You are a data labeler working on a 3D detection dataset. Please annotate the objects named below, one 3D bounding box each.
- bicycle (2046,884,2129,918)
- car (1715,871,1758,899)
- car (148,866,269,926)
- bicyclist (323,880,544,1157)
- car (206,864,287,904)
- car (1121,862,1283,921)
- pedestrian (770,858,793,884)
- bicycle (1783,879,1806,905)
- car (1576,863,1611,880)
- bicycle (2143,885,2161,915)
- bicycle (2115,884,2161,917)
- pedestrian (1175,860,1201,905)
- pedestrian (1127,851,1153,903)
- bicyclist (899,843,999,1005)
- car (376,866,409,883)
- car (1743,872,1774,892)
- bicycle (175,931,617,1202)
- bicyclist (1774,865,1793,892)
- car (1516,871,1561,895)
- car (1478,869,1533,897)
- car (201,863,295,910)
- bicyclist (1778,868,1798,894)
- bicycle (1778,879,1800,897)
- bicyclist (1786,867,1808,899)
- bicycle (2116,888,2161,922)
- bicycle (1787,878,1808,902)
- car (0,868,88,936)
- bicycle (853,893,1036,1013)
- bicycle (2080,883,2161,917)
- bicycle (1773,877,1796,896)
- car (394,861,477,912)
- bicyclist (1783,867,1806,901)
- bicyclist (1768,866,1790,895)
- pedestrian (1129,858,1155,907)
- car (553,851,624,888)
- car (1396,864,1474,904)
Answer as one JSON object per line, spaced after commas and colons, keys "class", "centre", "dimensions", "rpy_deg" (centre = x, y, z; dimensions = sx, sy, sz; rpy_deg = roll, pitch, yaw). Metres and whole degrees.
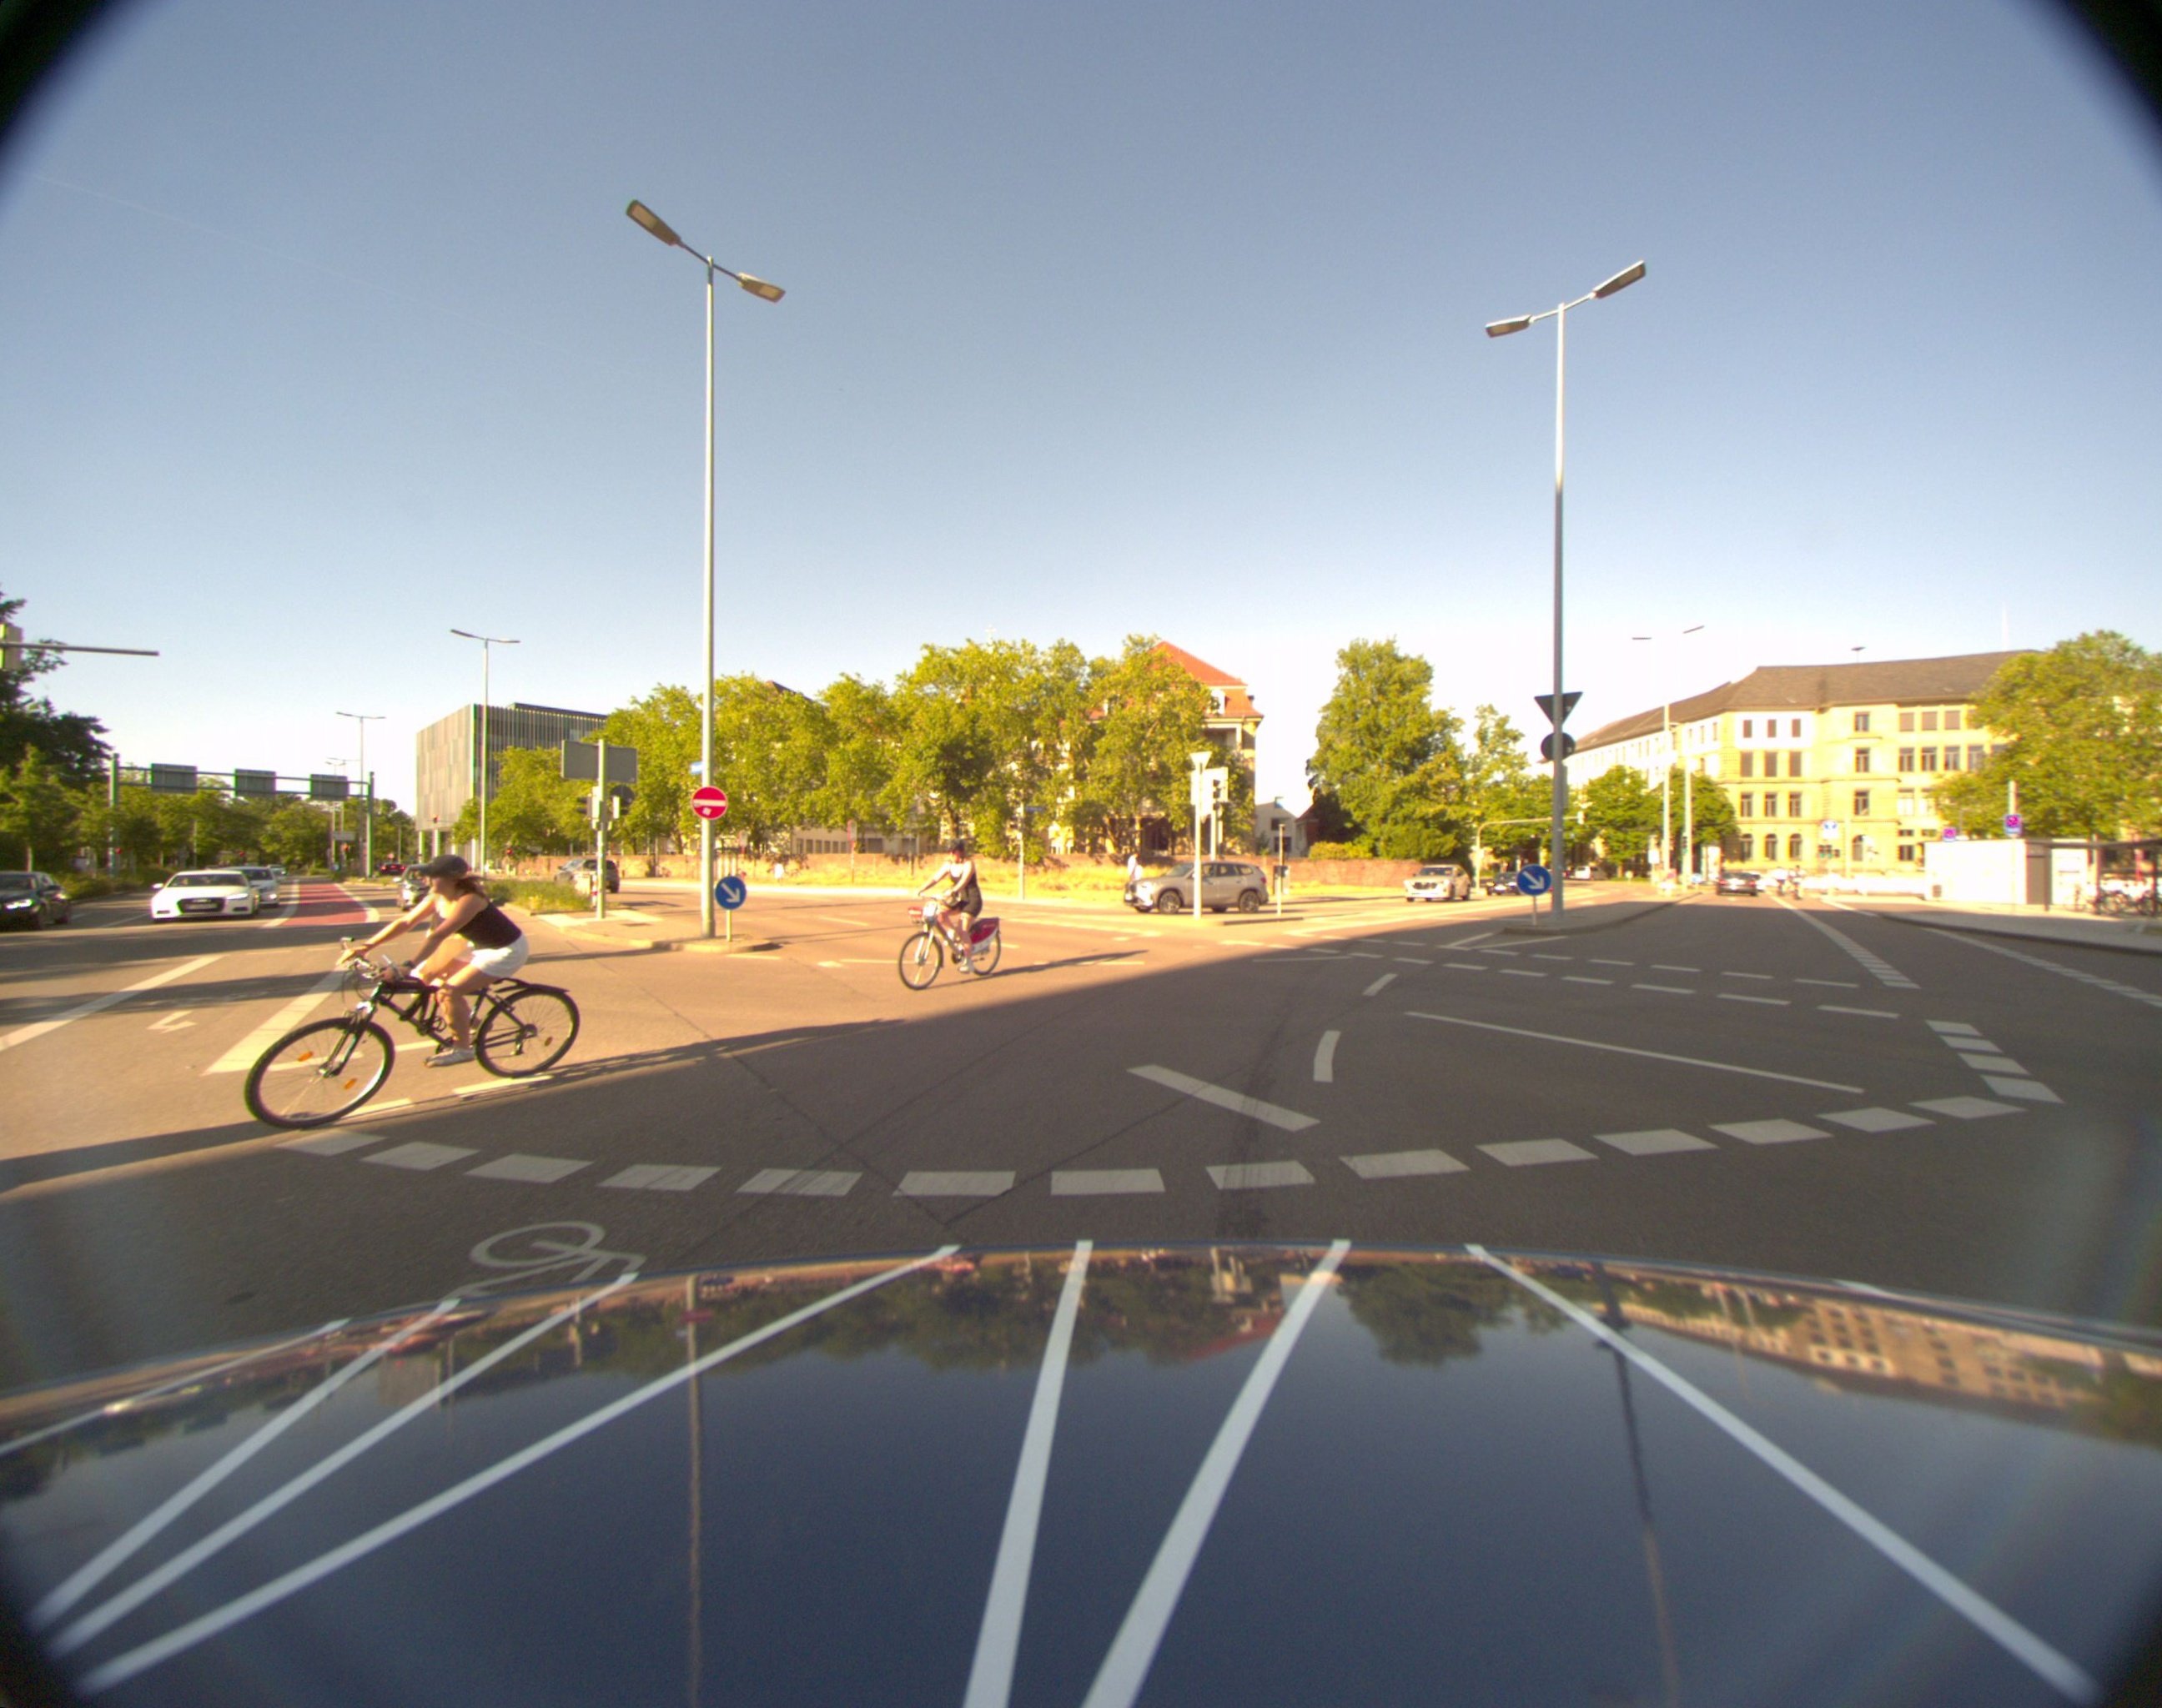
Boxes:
{"class": "bicycle", "centre": [34.695, 1.597, 26.234], "dimensions": [0.566, 1.048, 1.975], "rpy_deg": [-1, 0, 11]}
{"class": "car", "centre": [37.751, 1.745, 43.761], "dimensions": [1.801, 1.436, 3.986], "rpy_deg": [-1, 0, 41]}
{"class": "car", "centre": [-24.973, 1.114, 21.904], "dimensions": [1.807, 1.510, 4.419], "rpy_deg": [1, 0, -43]}
{"class": "bicyclist", "centre": [-4.073, 0.948, 4.813], "dimensions": [0.715, 1.539, 0.851], "rpy_deg": [-2, -1, 28]}
{"class": "car", "centre": [-34.779, 1.207, 31.782], "dimensions": [1.929, 1.510, 4.006], "rpy_deg": [1, 0, -43]}
{"class": "car", "centre": [3.654, 1.078, 23.016], "dimensions": [4.368, 1.611, 2.152], "rpy_deg": [1, 0, -23]}
{"class": "pedestrian", "centre": [-17.819, 0.992, 45.135], "dimensions": [0.920, 1.527, 0.976], "rpy_deg": [0, 0, 45]}
{"class": "bicycle", "centre": [35.337, 1.875, 37.630], "dimensions": [0.763, 1.179, 2.611], "rpy_deg": [-2, -2, 44]}
{"class": "car", "centre": [68.812, 2.367, 101.998], "dimensions": [4.156, 2.002, 1.996], "rpy_deg": [-4, 1, -24]}
{"class": "bicycle", "centre": [38.839, 1.633, 26.450], "dimensions": [0.837, 1.048, 2.120], "rpy_deg": [-1, 0, 4]}
{"class": "bicycle", "centre": [37.222, 1.605, 26.179], "dimensions": [0.682, 1.048, 1.938], "rpy_deg": [-1, 0, 7]}
{"class": "pedestrian", "centre": [4.135, 1.088, 29.301], "dimensions": [0.793, 1.644, 0.712], "rpy_deg": [2, 3, -4]}
{"class": "pedestrian", "centre": [2.174, 0.841, 28.237], "dimensions": [0.872, 1.884, 0.713], "rpy_deg": [2, 3, 4]}
{"class": "bicyclist", "centre": [-1.542, 0.768, 8.923], "dimensions": [0.715, 1.778, 0.851], "rpy_deg": [0, 2, 43]}
{"class": "car", "centre": [-67.656, 1.992, 74.665], "dimensions": [3.988, 1.586, 2.004], "rpy_deg": [0, 0, 42]}
{"class": "car", "centre": [47.805, 1.954, 53.626], "dimensions": [1.380, 1.330, 3.512], "rpy_deg": [0, 0, 38]}
{"class": "bicycle", "centre": [-4.098, 1.156, 4.758], "dimensions": [0.718, 1.115, 1.872], "rpy_deg": [-2, 1, 28]}
{"class": "bicyclist", "centre": [43.575, 1.523, 47.141], "dimensions": [0.864, 1.643, 0.946], "rpy_deg": [0, -1, 43]}
{"class": "car", "centre": [32.769, 2.047, 54.411], "dimensions": [2.189, 1.576, 4.617], "rpy_deg": [-2, -2, 38]}
{"class": "car", "centre": [25.623, 1.724, 45.799], "dimensions": [2.189, 1.576, 4.617], "rpy_deg": [-2, -2, 38]}
{"class": "car", "centre": [-29.808, 1.095, 27.301], "dimensions": [1.929, 1.510, 4.006], "rpy_deg": [1, 0, -43]}
{"class": "bicyclist", "centre": [46.531, 1.771, 50.005], "dimensions": [0.946, 1.643, 0.864], "rpy_deg": [0, 0, -43]}
{"class": "bicycle", "centre": [46.645, 2.238, 50.033], "dimensions": [2.193, 1.091, 0.880], "rpy_deg": [1, 0, -43]}
{"class": "bicyclist", "centre": [37.605, 1.502, 39.901], "dimensions": [0.763, 1.658, 1.064], "rpy_deg": [-2, -2, 44]}
{"class": "bicycle", "centre": [34.962, 1.660, 24.494], "dimensions": [0.566, 1.048, 1.974], "rpy_deg": [-1, 0, 4]}
{"class": "bicycle", "centre": [37.622, 1.890, 39.899], "dimensions": [0.763, 1.179, 2.611], "rpy_deg": [-2, -2, 44]}
{"class": "car", "centre": [-26.602, 1.136, 18.791], "dimensions": [1.807, 1.510, 3.988], "rpy_deg": [1, 0, -43]}
{"class": "bicycle", "centre": [-1.545, 1.087, 8.937], "dimensions": [0.717, 1.115, 2.071], "rpy_deg": [0, 1, 43]}
{"class": "bicycle", "centre": [36.265, 1.590, 26.367], "dimensions": [0.682, 1.048, 2.024], "rpy_deg": [-1, 0, 7]}
{"class": "bicycle", "centre": [43.546, 2.019, 47.048], "dimensions": [2.193, 1.091, 0.880], "rpy_deg": [1, 0, -43]}
{"class": "car", "centre": [-21.339, 1.015, 25.058], "dimensions": [1.929, 1.510, 4.006], "rpy_deg": [1, 0, -43]}
{"class": "bicyclist", "centre": [35.345, 1.487, 37.634], "dimensions": [0.763, 1.658, 1.064], "rpy_deg": [-2, -2, 44]}
{"class": "bicyclist", "centre": [40.383, 1.509, 43.964], "dimensions": [0.946, 1.643, 0.864], "rpy_deg": [0, 0, -43]}
{"class": "pedestrian", "centre": [2.189, 1.022, 27.347], "dimensions": [0.872, 1.665, 0.713], "rpy_deg": [2, 3, 4]}
{"class": "car", "centre": [-23.670, 0.724, 36.437], "dimensions": [2.004, 1.674, 4.616], "rpy_deg": [1, -1, -44]}
{"class": "car", "centre": [16.002, 1.327, 34.221], "dimensions": [2.189, 1.673, 4.617], "rpy_deg": [-2, -2, 38]}
